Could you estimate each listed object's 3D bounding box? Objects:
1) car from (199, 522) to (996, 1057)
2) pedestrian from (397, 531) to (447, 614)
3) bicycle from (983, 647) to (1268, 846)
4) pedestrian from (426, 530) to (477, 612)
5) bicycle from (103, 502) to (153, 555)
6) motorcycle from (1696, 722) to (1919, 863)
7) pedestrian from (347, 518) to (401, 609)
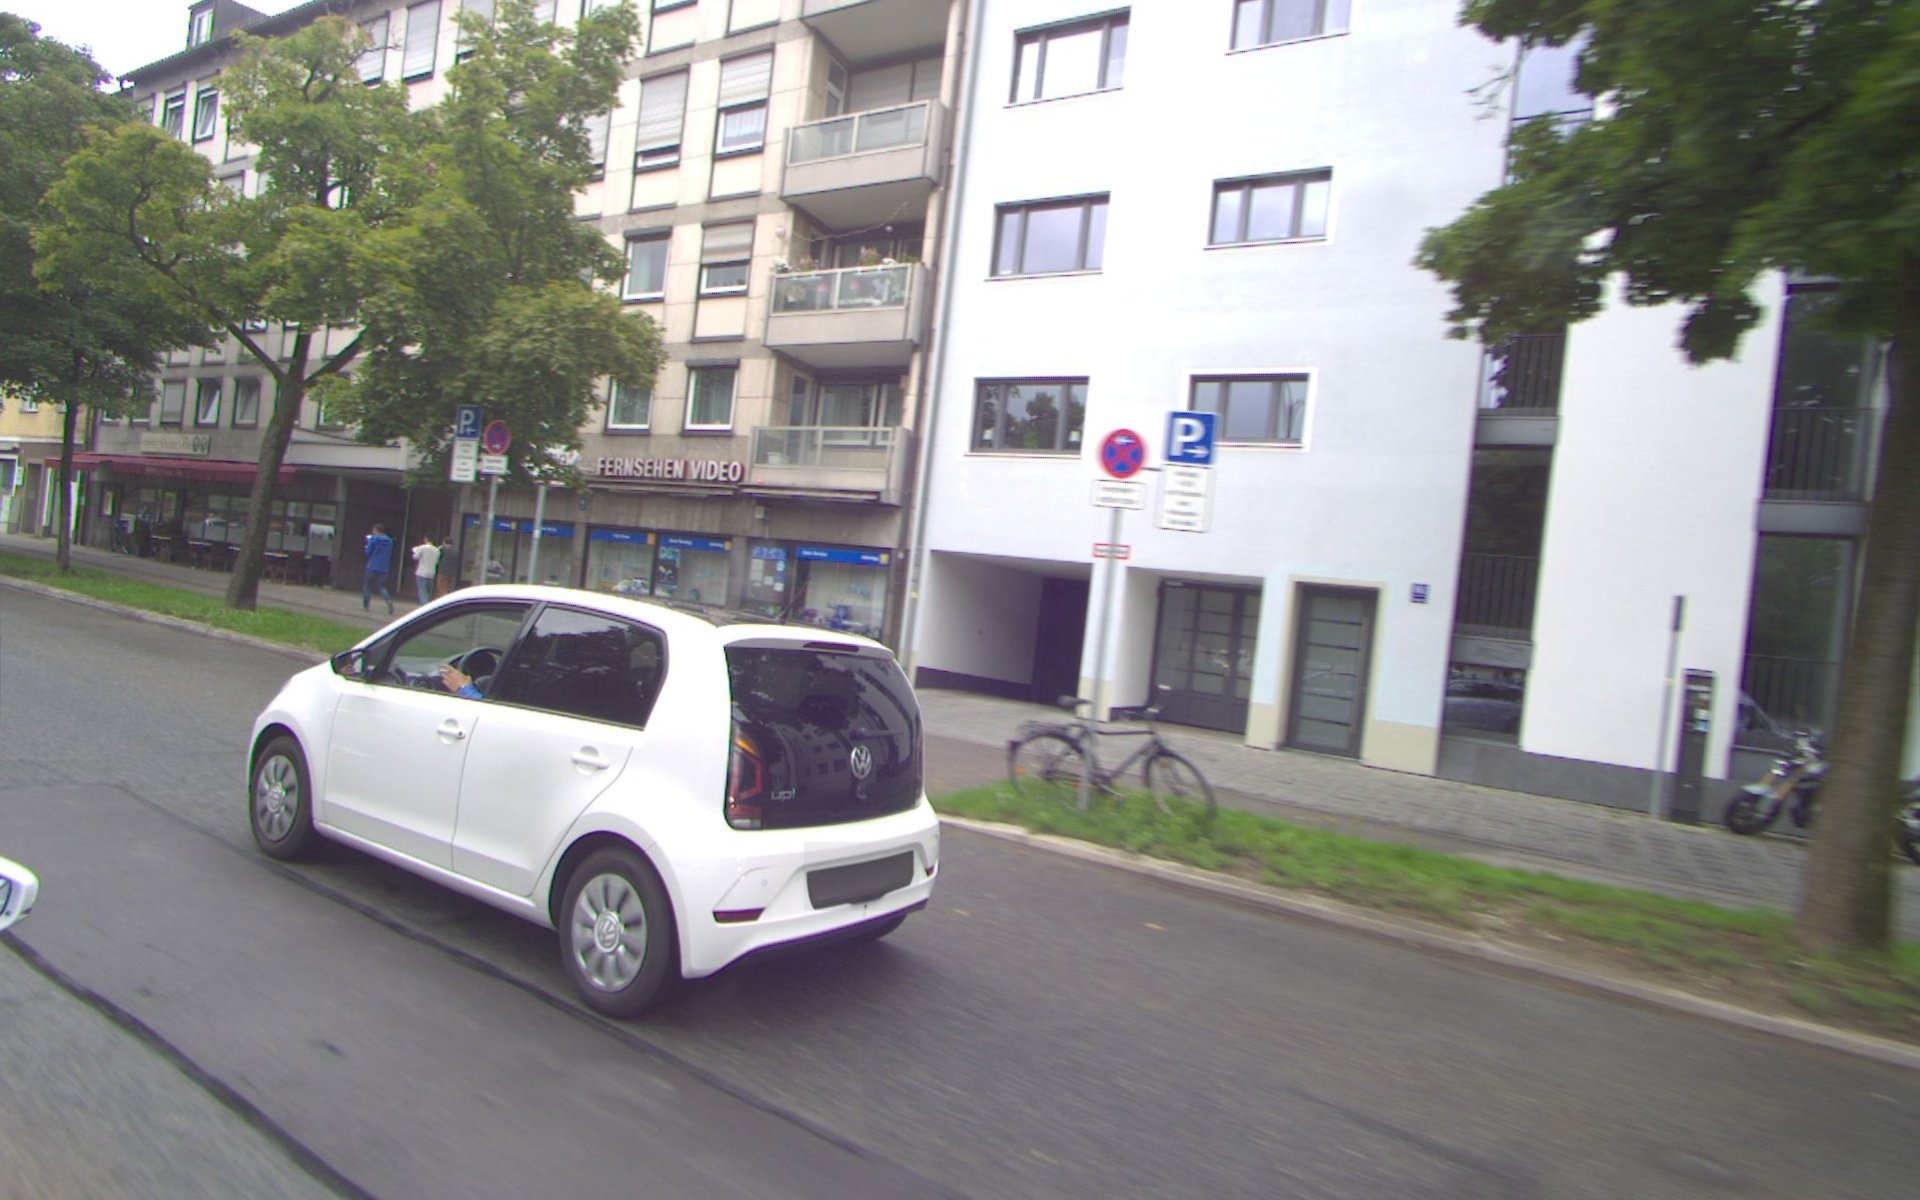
[{"bbox_3d":[-1.784,0.618,4.788,3.378,1.507,1.690,7,-2,32],"label":"car"},{"bbox_3d":[-11.339,-0.574,21.207,0.630,1.650,0.549,7,1,31],"label":"pedestrian"},{"bbox_3d":[1.333,1.150,8.218,2.108,1.271,0.456,7,0,13],"label":"bicycle"},{"bbox_3d":[-11.023,-0.626,21.800,0.712,1.660,0.542,7,0,31],"label":"pedestrian"},{"bbox_3d":[-26.130,-2.257,31.581,1.660,1.481,0.581,7,0,32],"label":"bicycle"},{"bbox_3d":[9.167,2.009,10.558,2.163,1.099,0.762,7,0,32],"label":"motorcycle"},{"bbox_3d":[-11.862,-0.739,20.354,0.720,1.754,0.500,7,0,31],"label":"pedestrian"}]
